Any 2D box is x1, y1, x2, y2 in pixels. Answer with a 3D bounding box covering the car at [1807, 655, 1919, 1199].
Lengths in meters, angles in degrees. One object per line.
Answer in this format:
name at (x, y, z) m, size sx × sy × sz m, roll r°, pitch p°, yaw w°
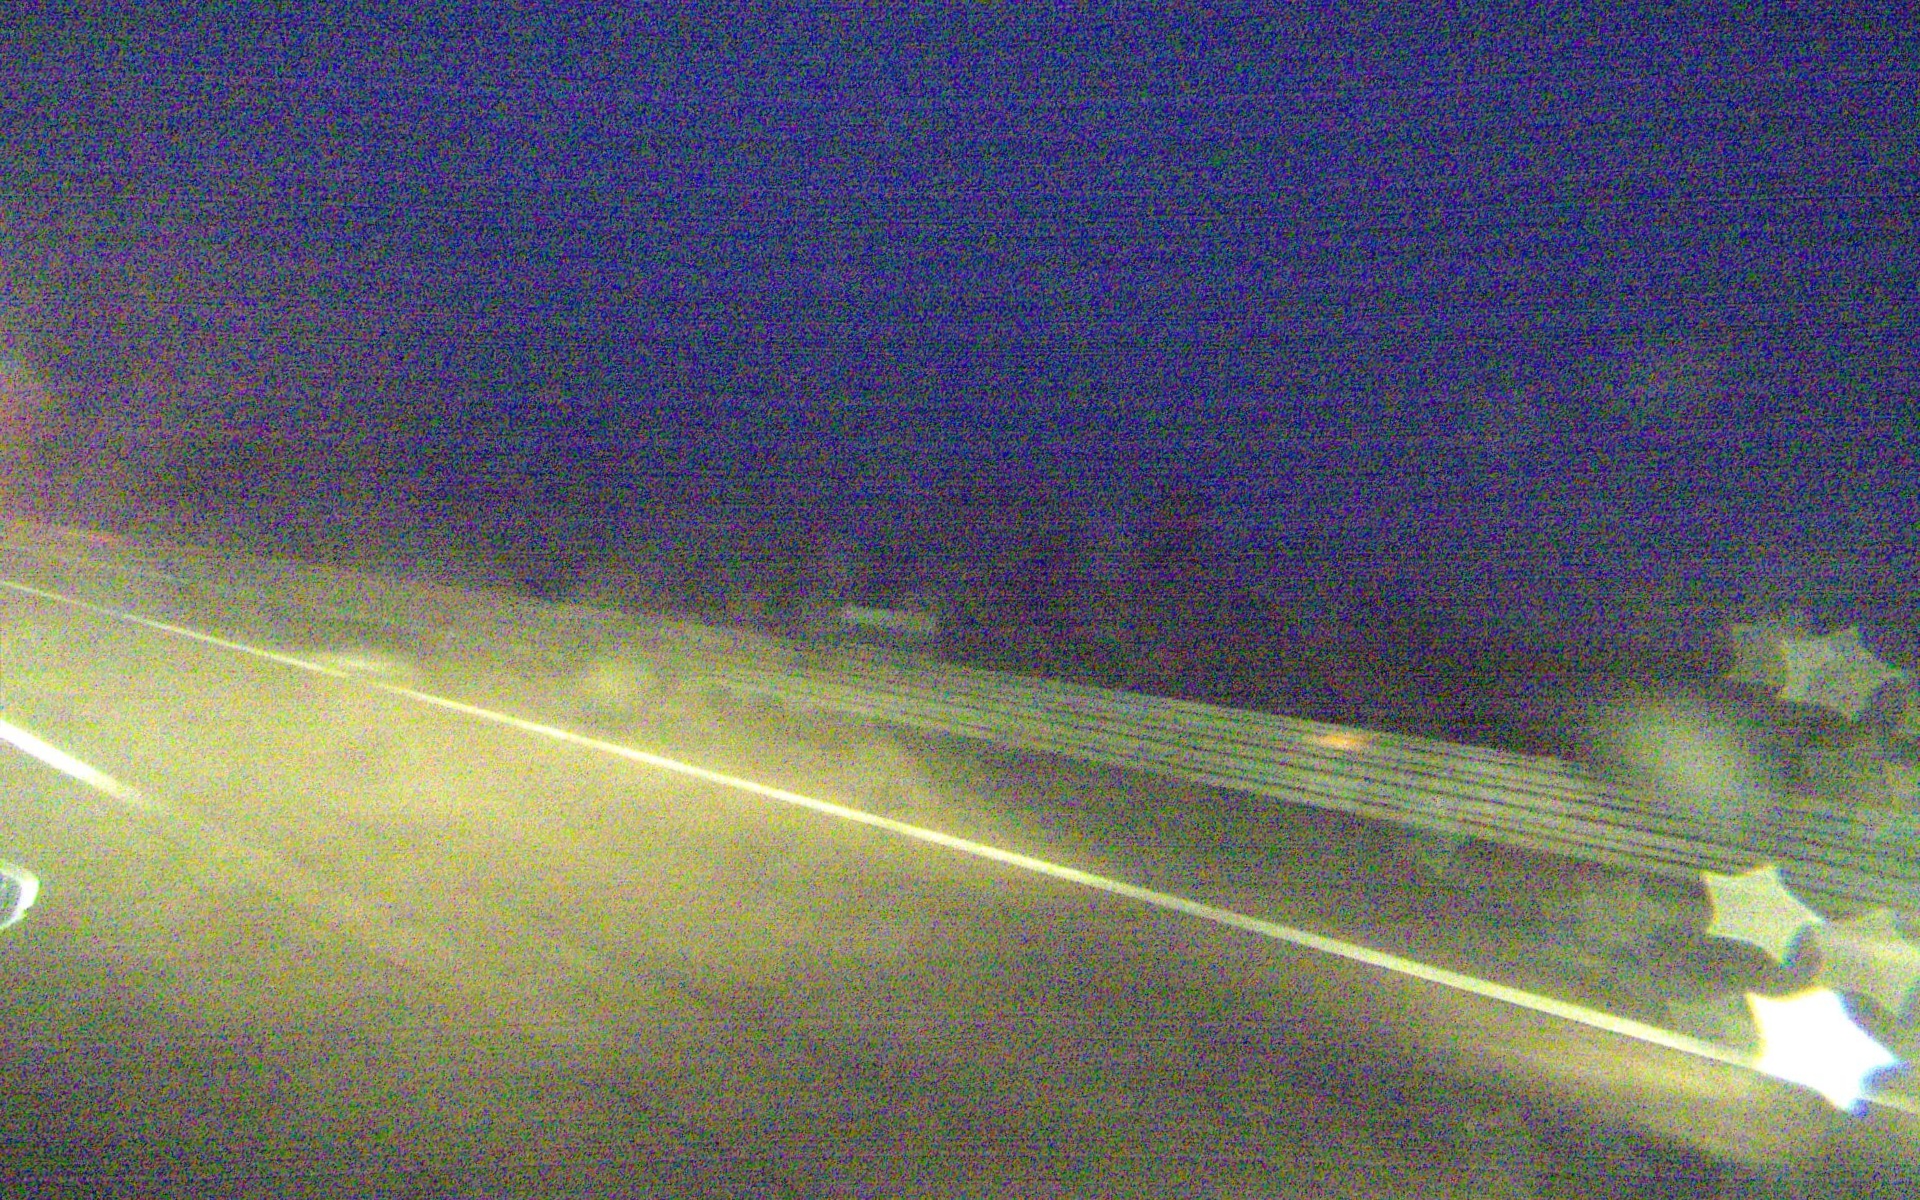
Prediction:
car at (4.947, 1.286, 1.678) m, size 5.041 × 1.813 × 1.956 m, roll 6°, pitch -2°, yaw 34°
